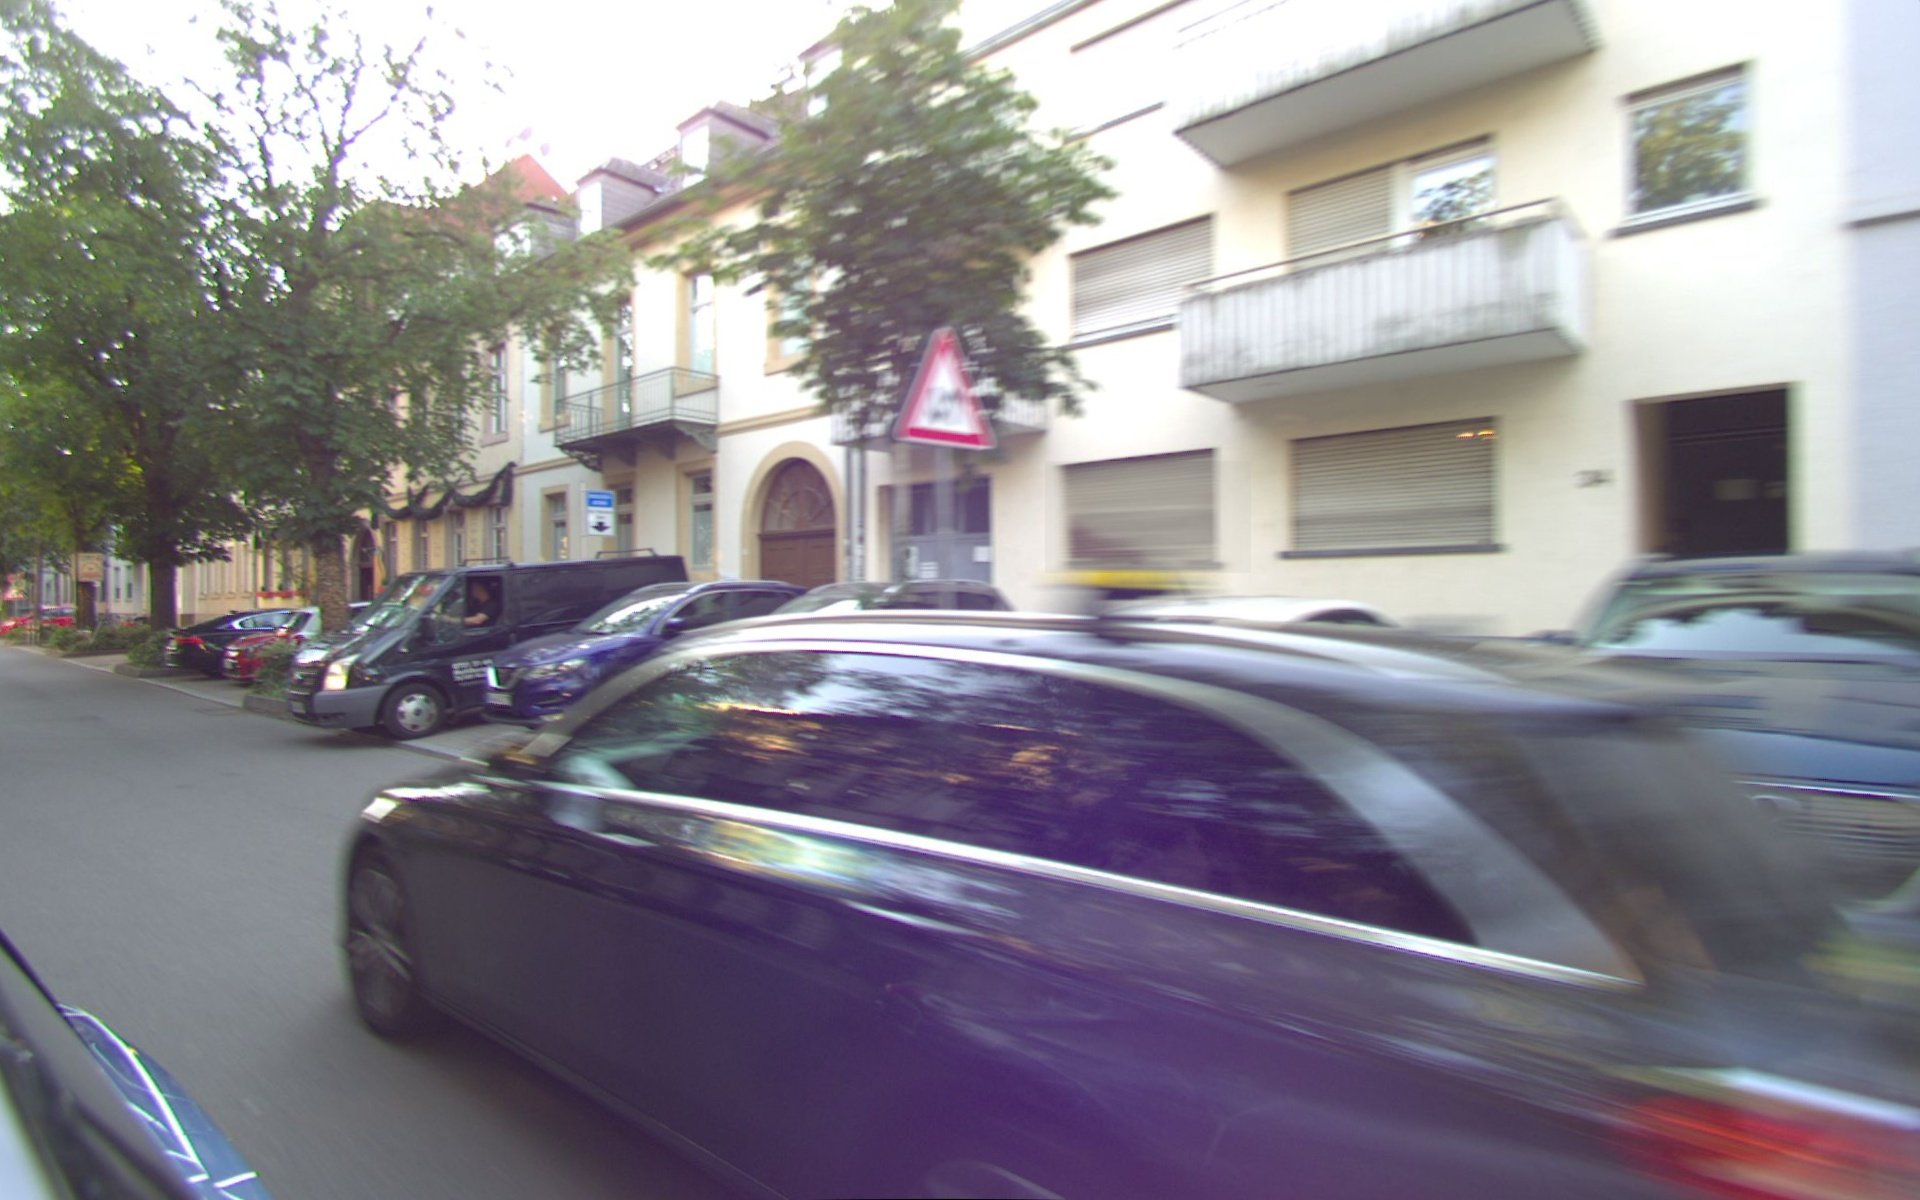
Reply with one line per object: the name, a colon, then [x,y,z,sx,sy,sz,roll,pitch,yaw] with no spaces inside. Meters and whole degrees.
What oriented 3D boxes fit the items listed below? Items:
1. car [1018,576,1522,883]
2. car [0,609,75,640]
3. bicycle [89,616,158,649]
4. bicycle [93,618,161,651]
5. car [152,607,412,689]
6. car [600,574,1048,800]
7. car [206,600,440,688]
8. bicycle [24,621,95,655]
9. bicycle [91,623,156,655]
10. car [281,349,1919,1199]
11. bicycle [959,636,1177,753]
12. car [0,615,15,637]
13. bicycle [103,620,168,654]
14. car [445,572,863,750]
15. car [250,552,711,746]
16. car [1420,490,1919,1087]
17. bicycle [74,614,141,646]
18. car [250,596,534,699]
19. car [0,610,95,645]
car: [2.318,0.614,6.912,1.854,1.462,3.805,-2,0,42]
car: [-49.653,1.315,53.951,1.589,1.430,3.508,-1,2,39]
bicycle: [-30.161,1.150,36.530,0.479,1.107,1.847,-1,1,35]
bicycle: [-30.555,1.264,37.156,0.508,1.107,1.847,-1,1,35]
car: [-14.607,0.957,22.047,1.716,1.417,4.382,1,2,38]
car: [-1.118,0.636,9.874,1.823,1.603,4.111,-1,2,42]
car: [-12.764,0.812,20.422,1.659,1.460,3.646,-1,2,42]
bicycle: [-32.944,1.378,37.053,0.479,1.106,1.847,-1,1,35]
bicycle: [-31.962,1.463,38.683,0.479,1.107,1.847,-1,1,35]
car: [-0.086,0.649,2.836,4.643,1.653,1.857,-1,-1,41]
bicycle: [0.925,0.786,8.977,1.813,0.880,0.738,-1,0,41]
car: [-63.837,1.782,65.675,1.590,1.430,3.506,-1,2,42]
bicycle: [-29.019,1.288,35.651,0.479,1.107,1.692,-1,1,35]
car: [-3.401,0.545,11.913,1.930,1.584,4.309,-1,2,42]
car: [-5.929,0.524,13.059,2.189,2.006,4.938,-1,-1,41]
car: [4.117,0.520,4.970,2.155,1.778,4.617,-1,1,41]
bicycle: [-31.702,1.111,37.655,0.479,1.107,1.847,-1,1,35]
car: [-10.577,0.780,19.113,1.771,1.550,4.309,1,3,42]
car: [-43.357,1.266,47.857,1.671,1.416,3.454,-1,2,39]
